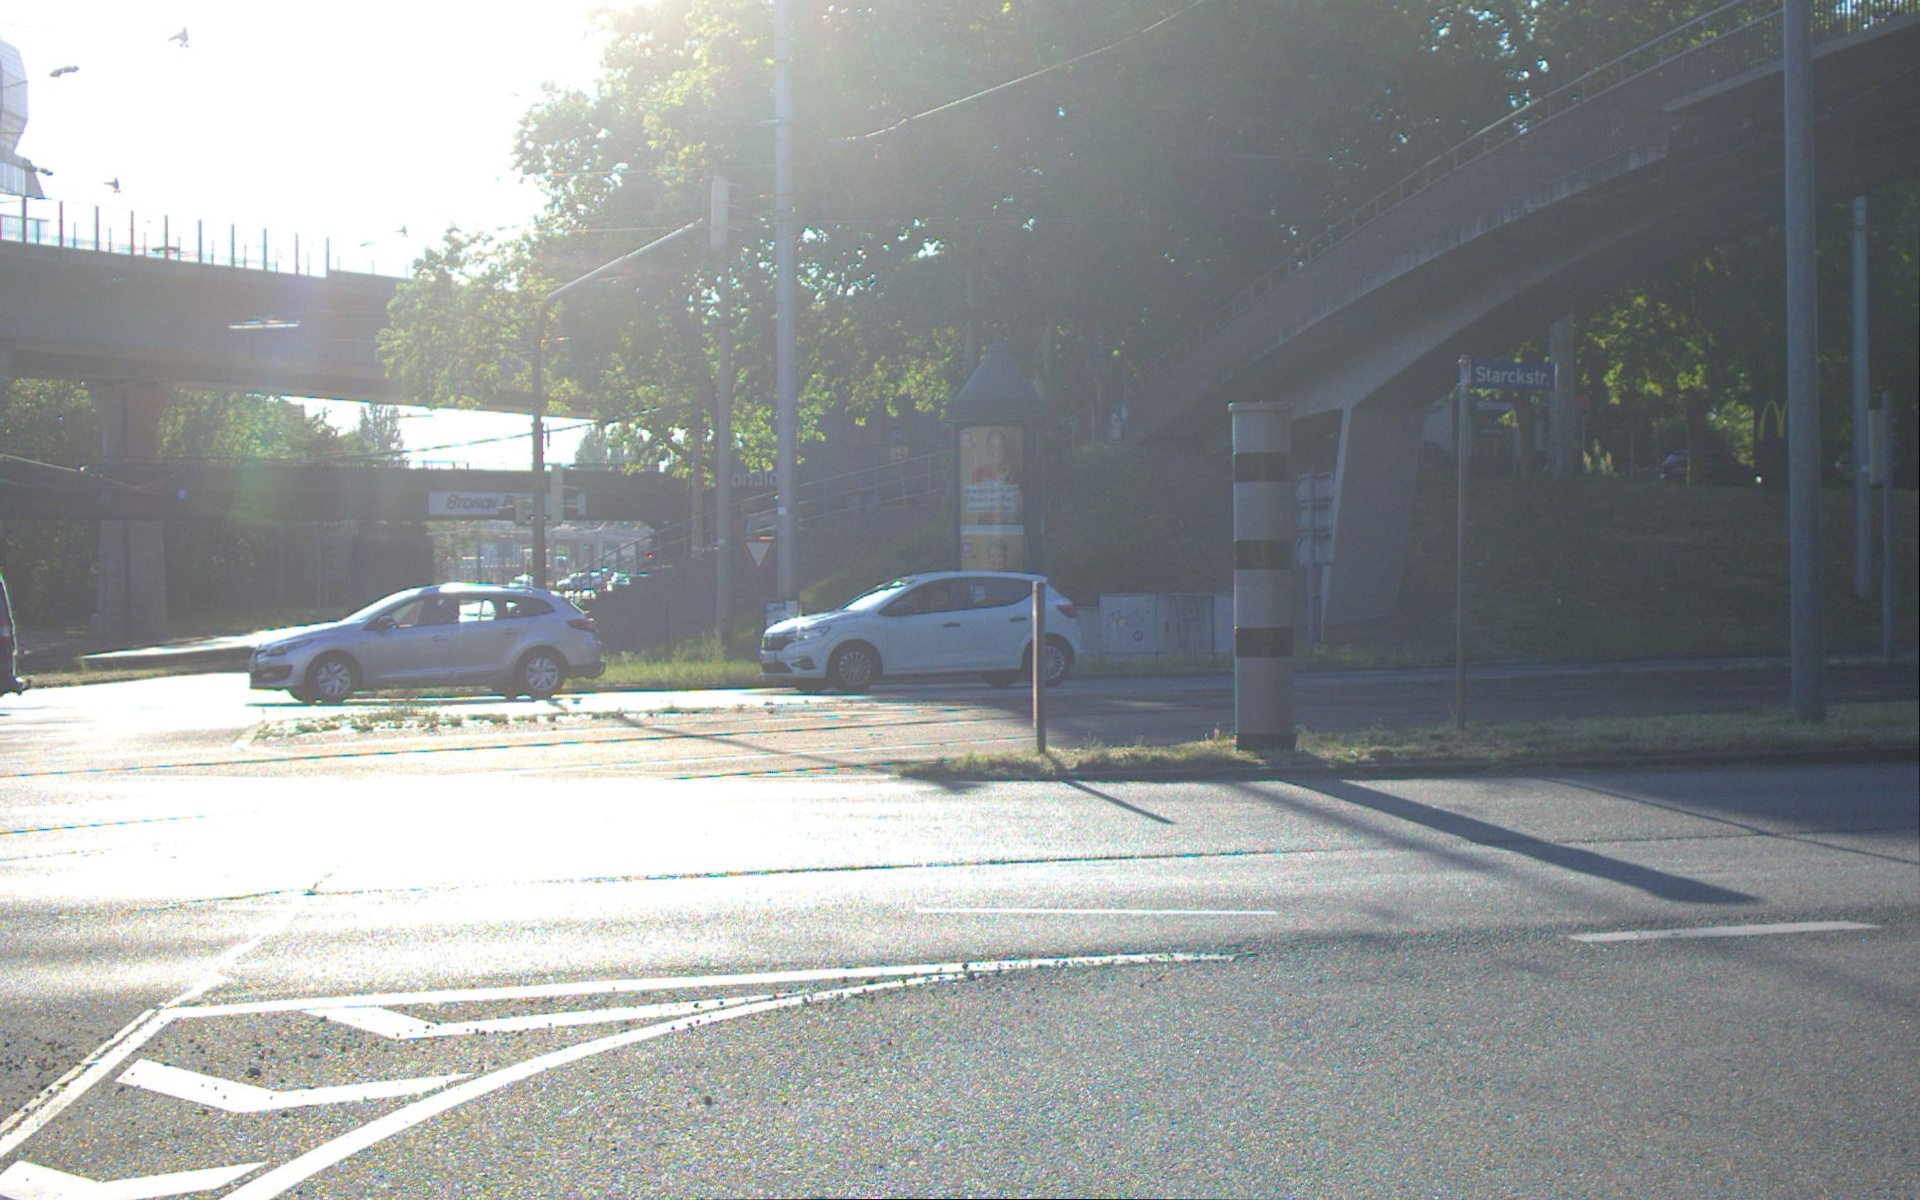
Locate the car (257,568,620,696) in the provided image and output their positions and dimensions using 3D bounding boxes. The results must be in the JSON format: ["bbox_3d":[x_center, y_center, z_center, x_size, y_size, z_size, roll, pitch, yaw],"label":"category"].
[{"bbox_3d":[-6.776,0.391,44.630,4.355,1.603,1.857,0,0,-21],"label":"car"}]

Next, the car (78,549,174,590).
[{"bbox_3d":[-37.658,-1.365,155.274,1.997,1.765,3.993,1,0,29],"label":"car"}]

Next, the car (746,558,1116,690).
[{"bbox_3d":[-0.372,0.278,43.401,4.292,1.603,1.857,0,0,-21],"label":"car"}]

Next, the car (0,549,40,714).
[{"bbox_3d":[-12.625,0.351,38.760,4.131,1.861,1.857,0,0,-23],"label":"car"}]
